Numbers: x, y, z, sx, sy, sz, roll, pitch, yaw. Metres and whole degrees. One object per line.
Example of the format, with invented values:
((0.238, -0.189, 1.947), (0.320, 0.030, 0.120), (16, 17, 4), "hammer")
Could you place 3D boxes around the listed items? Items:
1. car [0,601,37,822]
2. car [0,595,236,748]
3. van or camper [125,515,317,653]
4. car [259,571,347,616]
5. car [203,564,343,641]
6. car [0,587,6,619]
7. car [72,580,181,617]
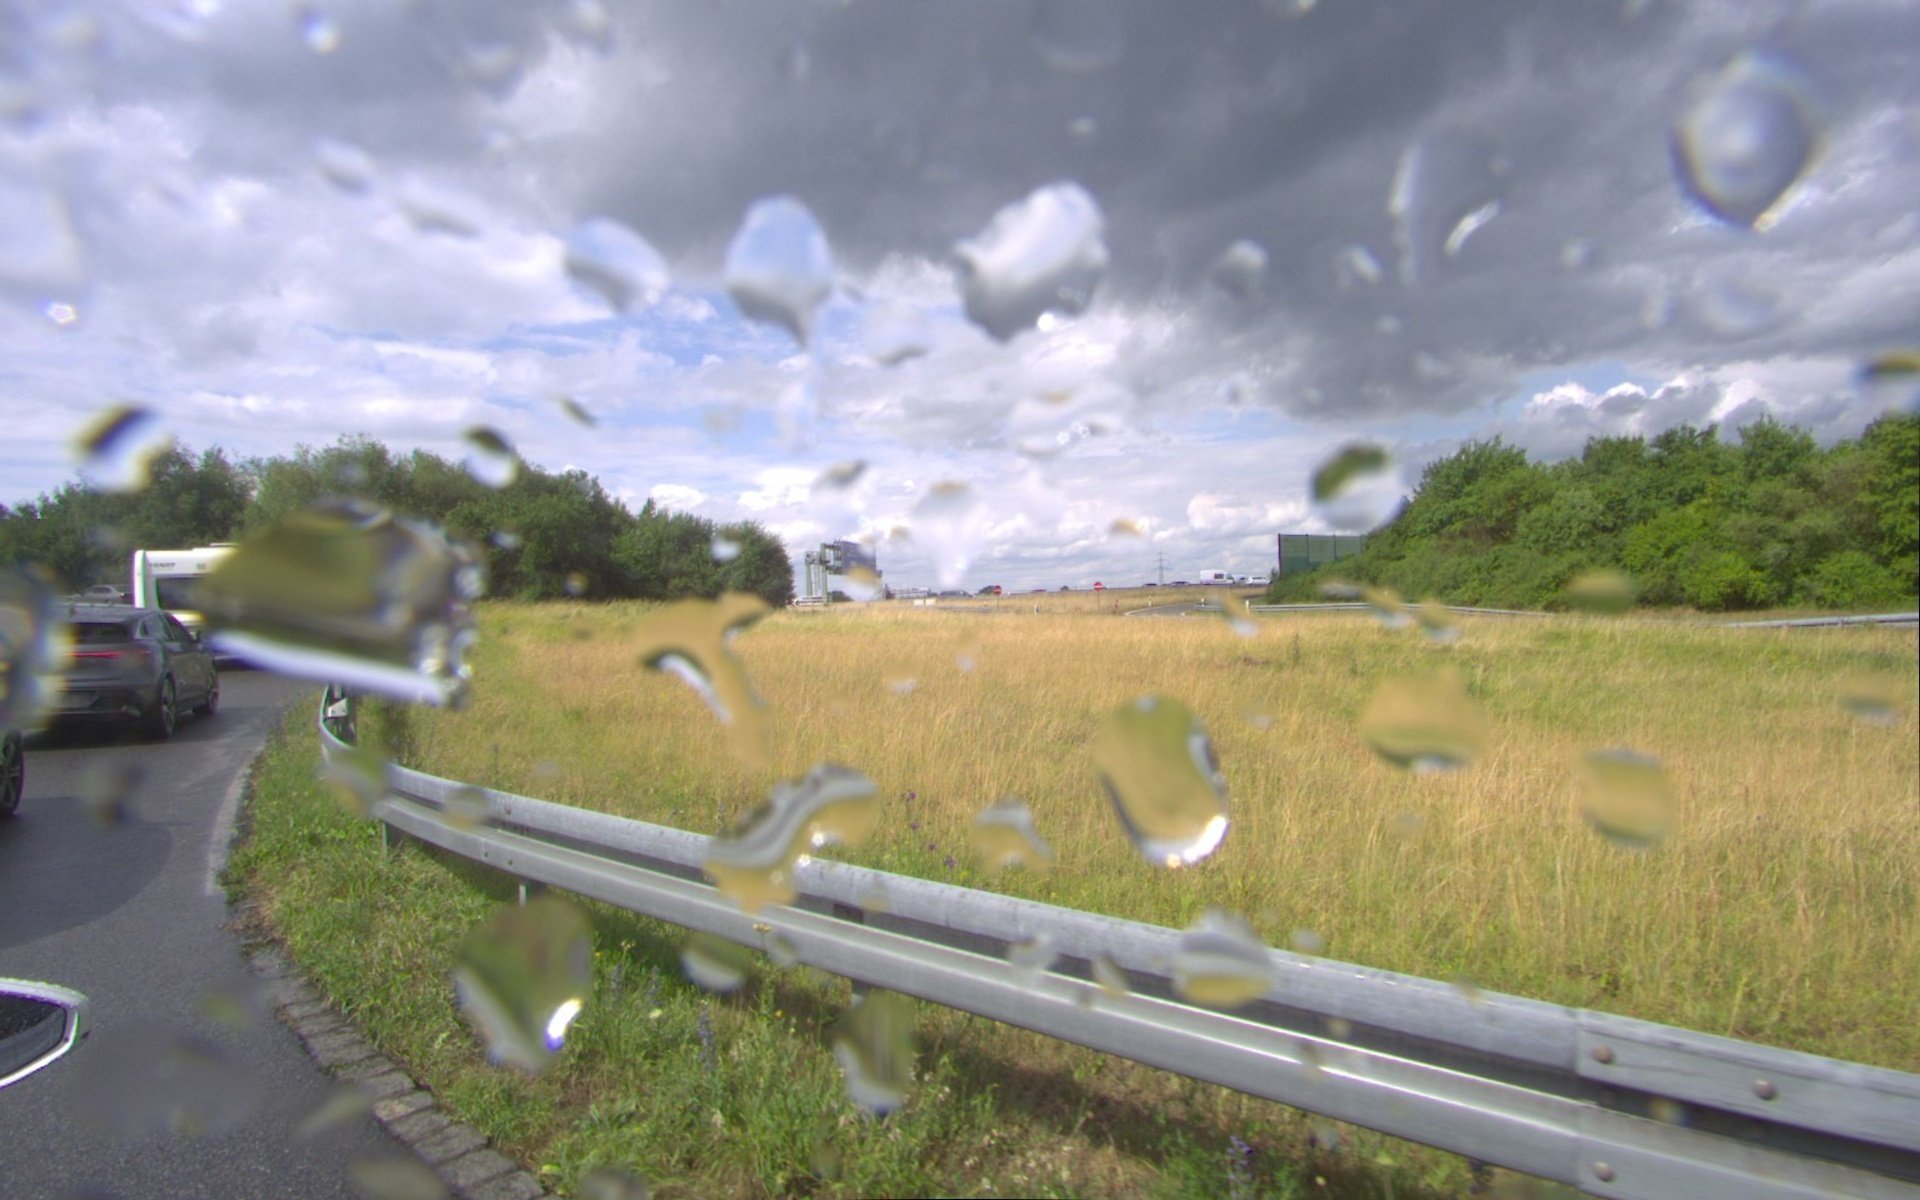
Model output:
((-6.787, 0.763, 5.410), (1.897, 1.527, 4.567), (1, 0, -33), "car")
((-10.404, 0.765, 12.368), (1.697, 1.545, 3.982), (-2, 1, -27), "car")
((-16.855, -0.315, 23.254), (2.400, 2.766, 5.977), (0, 0, -25), "van or camper")
((-30.024, -0.287, 45.684), (4.999, 1.886, 1.984), (-2, 0, 40), "car")
((-19.412, 0.026, 28.603), (2.398, 1.951, 5.735), (0, 1, -25), "car")
((-59.048, 0.278, 58.511), (4.959, 1.886, 1.999), (-2, 0, 6), "car")
((-46.396, -0.083, 55.744), (4.963, 1.886, 1.998), (-2, 0, 13), "car")
